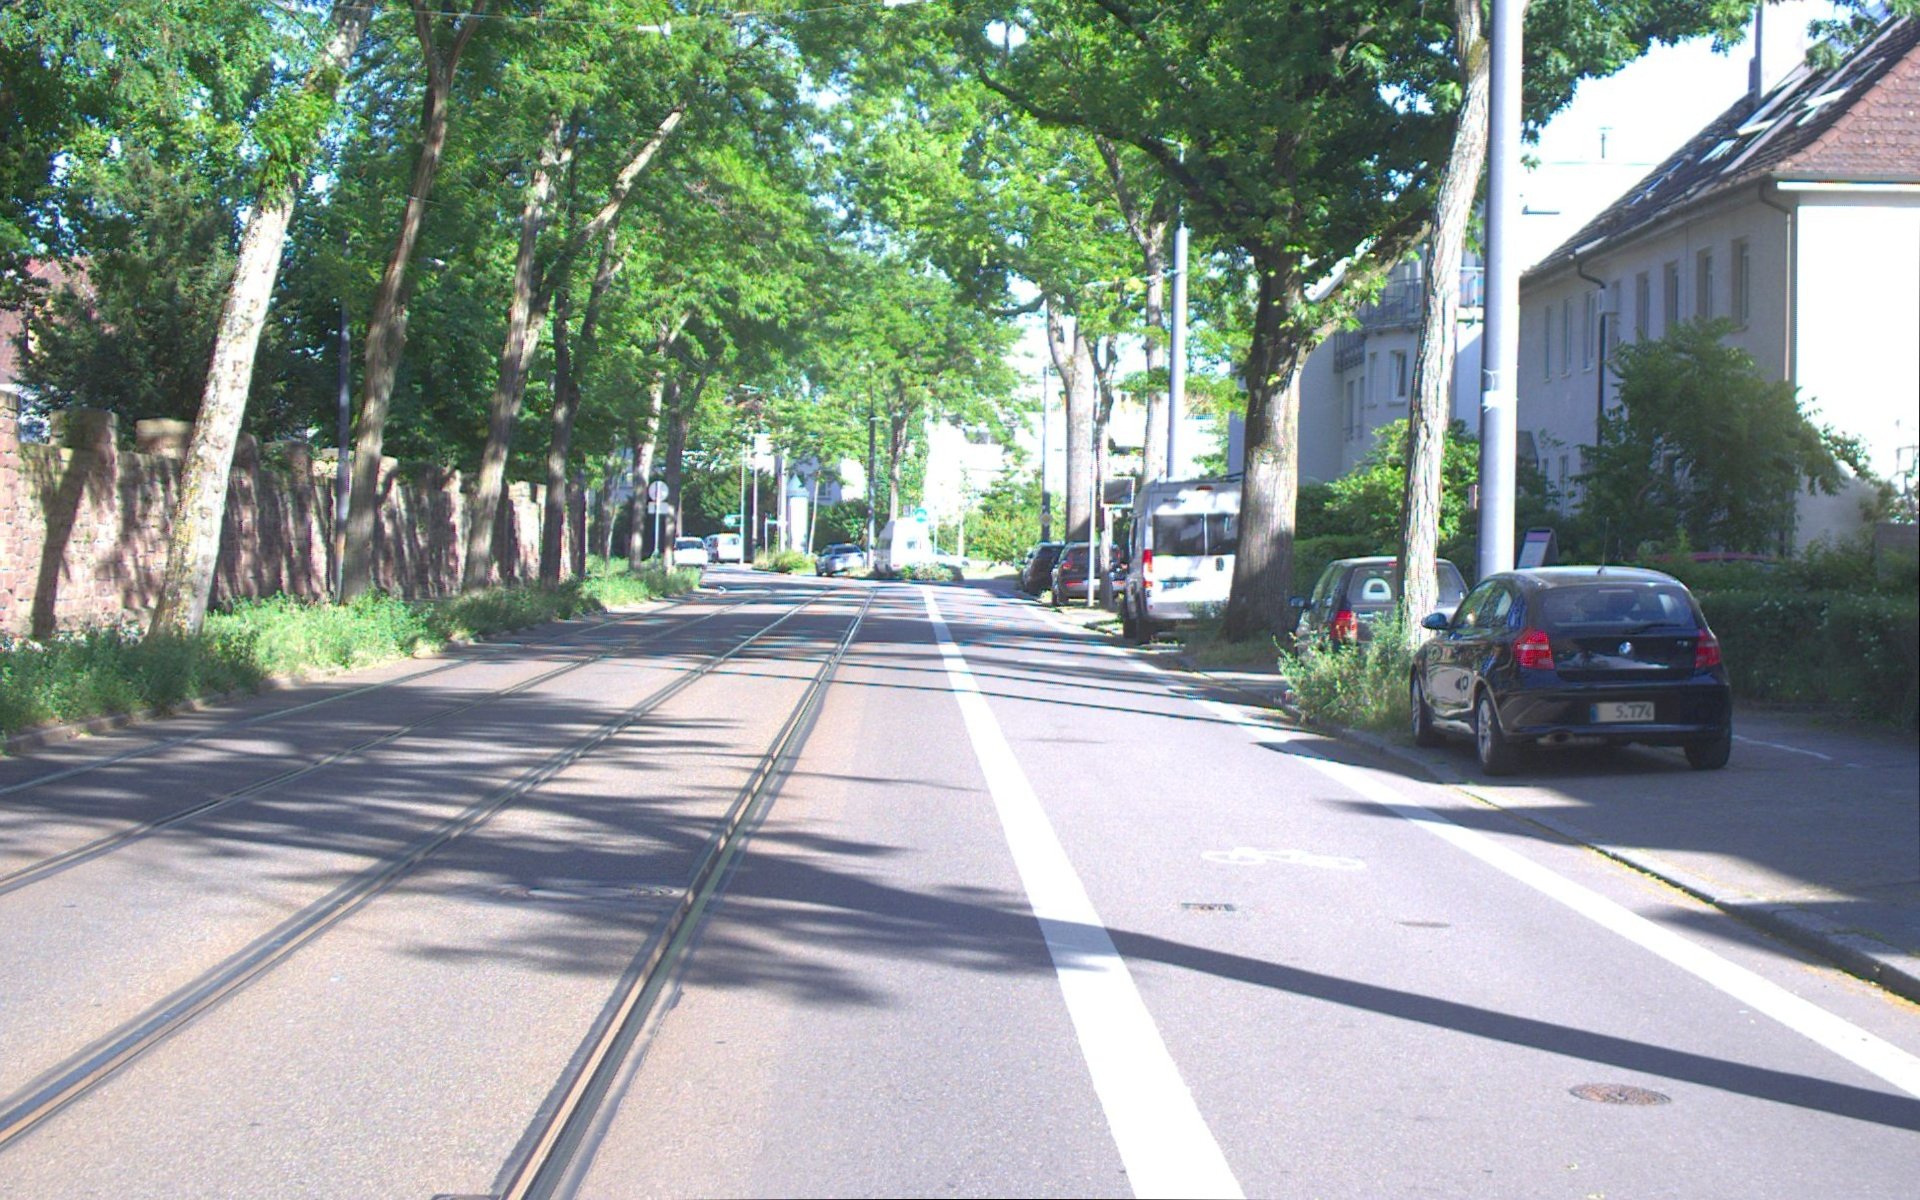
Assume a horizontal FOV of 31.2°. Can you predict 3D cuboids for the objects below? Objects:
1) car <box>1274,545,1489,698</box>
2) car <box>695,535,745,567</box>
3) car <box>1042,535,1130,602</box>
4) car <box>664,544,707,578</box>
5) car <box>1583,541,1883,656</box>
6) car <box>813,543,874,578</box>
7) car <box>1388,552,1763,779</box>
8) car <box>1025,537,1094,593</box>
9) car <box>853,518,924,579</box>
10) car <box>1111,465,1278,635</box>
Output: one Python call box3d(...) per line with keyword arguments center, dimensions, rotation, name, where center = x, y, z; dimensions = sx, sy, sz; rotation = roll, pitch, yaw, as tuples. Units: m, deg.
box3d(center=(4.211, 0.180, 34.841), dimensions=(1.627, 1.393, 3.646), rotation=(-2, 1, -1), name="car")
box3d(center=(-14.657, -2.969, 209.591), dimensions=(2.002, 1.903, 4.393), rotation=(-1, 1, -18), name="car")
box3d(center=(3.219, -0.824, 88.438), dimensions=(2.003, 1.669, 4.392), rotation=(-1, 1, -1), name="car")
box3d(center=(-14.008, -2.008, 175.242), dimensions=(1.865, 1.669, 4.174), rotation=(0, 1, -9), name="car")
box3d(center=(10.050, -0.039, 44.782), dimensions=(3.396, 1.431, 1.735), rotation=(-1, 1, -13), name="car")
box3d(center=(-5.414, -1.843, 159.736), dimensions=(2.002, 1.555, 4.394), rotation=(0, 1, -13), name="car")
box3d(center=(4.425, 0.411, 25.349), dimensions=(1.784, 1.443, 4.302), rotation=(-2, 1, -2), name="car")
box3d(center=(3.096, -1.101, 105.956), dimensions=(2.003, 1.669, 4.392), rotation=(-1, 1, 3), name="car")
box3d(center=(-2.977, -2.136, 141.786), dimensions=(1.993, 2.449, 4.510), rotation=(0, 1, -14), name="car")
box3d(center=(3.784, -0.827, 56.519), dimensions=(2.245, 2.645, 5.586), rotation=(-1, 1, -1), name="car")
